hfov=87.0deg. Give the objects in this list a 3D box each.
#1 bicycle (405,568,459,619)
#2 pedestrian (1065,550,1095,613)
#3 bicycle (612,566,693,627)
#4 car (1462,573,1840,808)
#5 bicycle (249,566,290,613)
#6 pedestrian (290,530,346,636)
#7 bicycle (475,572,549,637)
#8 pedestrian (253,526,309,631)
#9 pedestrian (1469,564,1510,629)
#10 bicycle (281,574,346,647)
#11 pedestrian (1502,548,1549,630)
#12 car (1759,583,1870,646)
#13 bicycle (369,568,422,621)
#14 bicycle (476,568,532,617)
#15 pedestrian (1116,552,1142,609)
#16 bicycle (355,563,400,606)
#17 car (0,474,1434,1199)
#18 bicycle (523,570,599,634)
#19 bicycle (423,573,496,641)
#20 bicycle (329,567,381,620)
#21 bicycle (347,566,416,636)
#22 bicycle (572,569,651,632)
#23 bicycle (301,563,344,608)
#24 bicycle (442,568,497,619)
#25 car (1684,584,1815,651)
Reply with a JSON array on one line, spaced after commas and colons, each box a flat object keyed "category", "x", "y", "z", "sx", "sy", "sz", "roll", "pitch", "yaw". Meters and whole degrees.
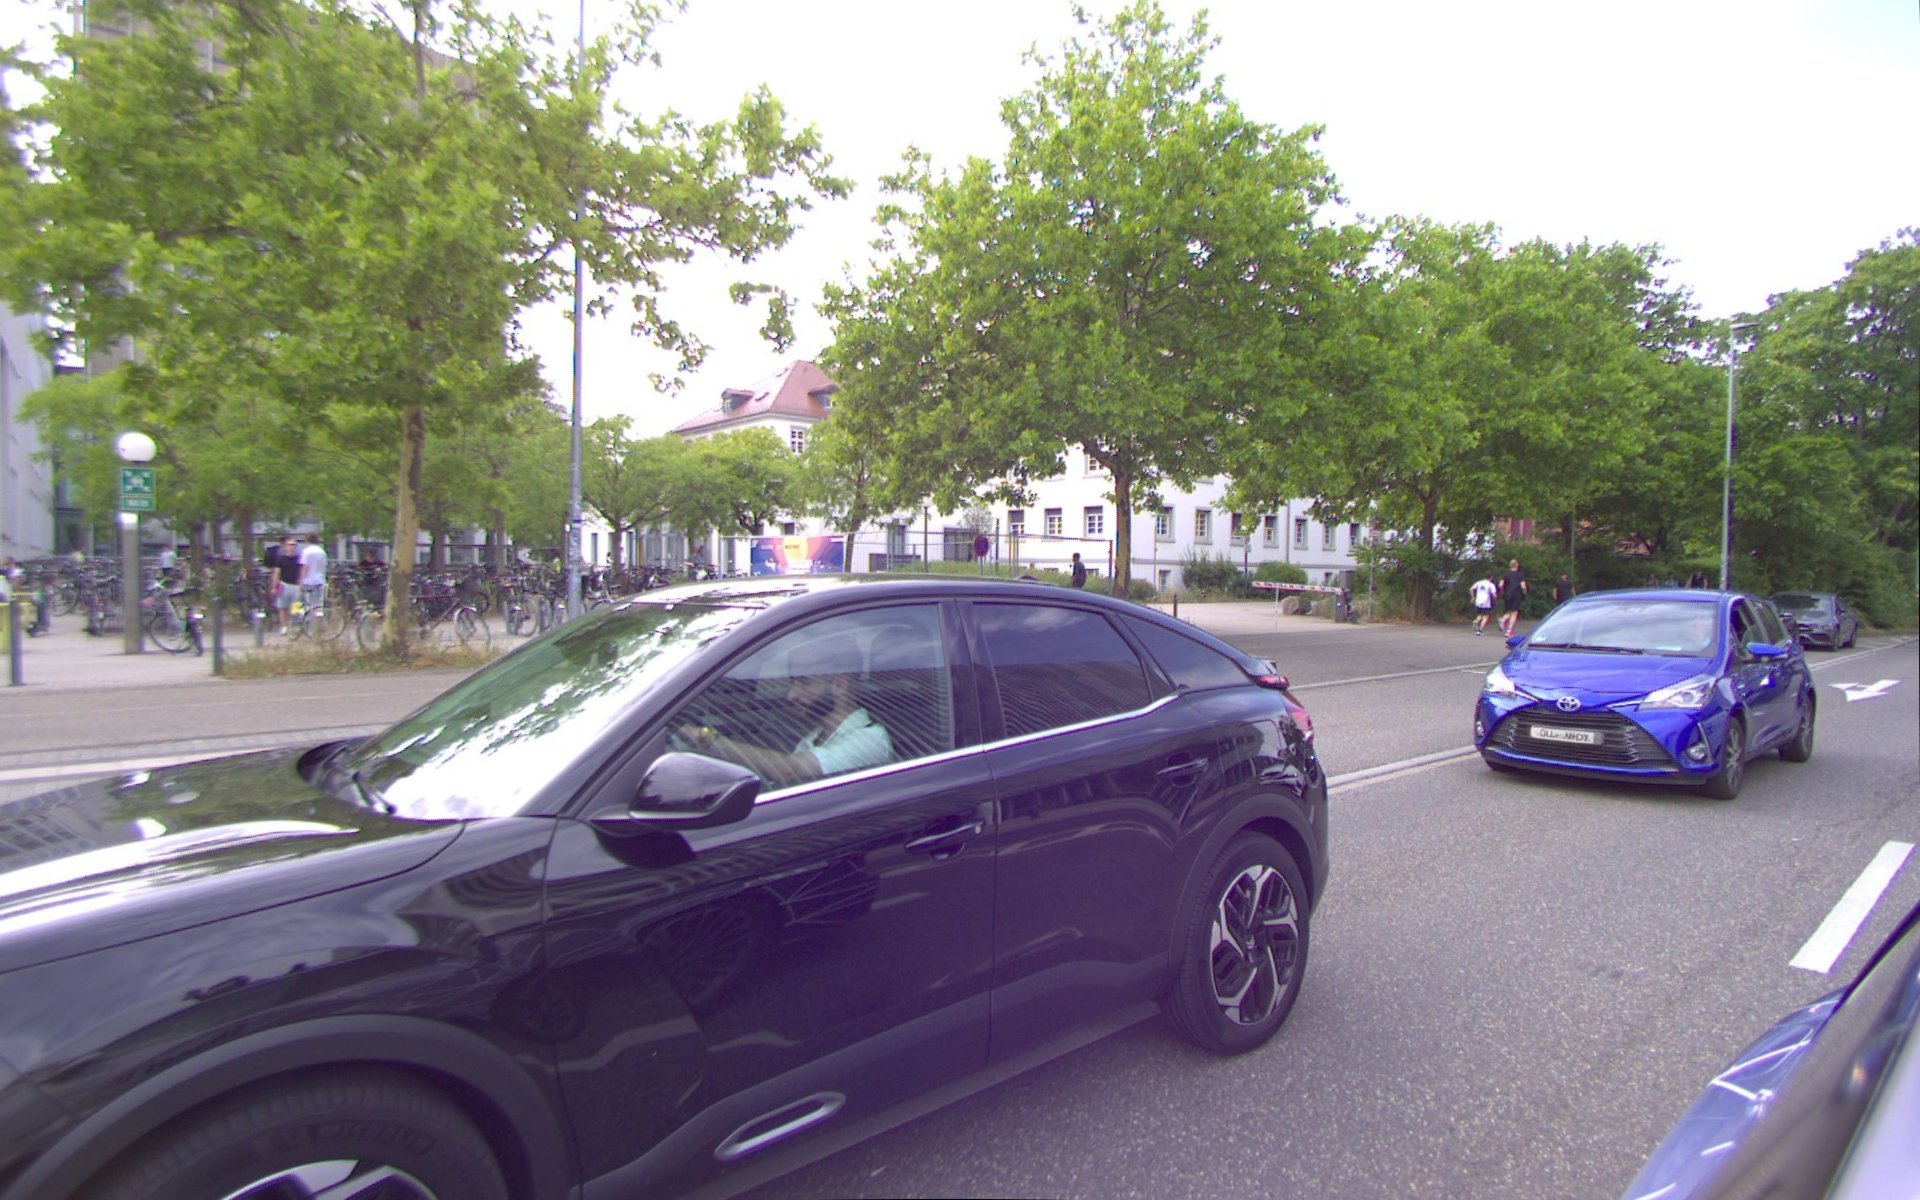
[{"category": "bicycle", "x": -12.599, "y": -0.193, "z": 24.117, "sx": 0.705, "sy": 1.156, "sz": 2.472, "roll": -1, "pitch": 2, "yaw": -38}, {"category": "pedestrian", "x": 3.396, "y": -0.518, "z": 28.575, "sx": 0.583, "sy": 1.760, "sz": 0.586, "roll": 0, "pitch": 1, "yaw": -39}, {"category": "bicycle", "x": -6.223, "y": -0.101, "z": 20.386, "sx": 0.705, "sy": 1.156, "sz": 2.472, "roll": -1, "pitch": 2, "yaw": -38}, {"category": "car", "x": 5.882, "y": 0.545, "z": 8.460, "sx": 3.765, "sy": 1.512, "sz": 1.702, "roll": -1, "pitch": 2, "yaw": -41}, {"category": "bicycle", "x": -18.008, "y": -0.297, "z": 26.370, "sx": 0.705, "sy": 1.156, "sz": 2.472, "roll": -1, "pitch": 2, "yaw": -38}, {"category": "pedestrian", "x": -12.267, "y": -0.313, "z": 19.341, "sx": 0.675, "sy": 1.988, "sz": 0.601, "roll": 0, "pitch": 0, "yaw": 11}, {"category": "bicycle", "x": -8.514, "y": 0.049, "z": 19.169, "sx": 0.705, "sy": 1.156, "sz": 2.472, "roll": -1, "pitch": 2, "yaw": -38}, {"category": "pedestrian", "x": -13.102, "y": -0.402, "z": 19.537, "sx": 0.675, "sy": 1.988, "sz": 0.601, "roll": 0, "pitch": 0, "yaw": 11}, {"category": "pedestrian", "x": 13.262, "y": -0.105, "z": 25.338, "sx": 0.791, "sy": 1.584, "sz": 0.645, "roll": -1, "pitch": 2, "yaw": -42}, {"category": "bicycle", "x": -11.102, "y": 0.138, "z": 17.343, "sx": 0.705, "sy": 1.156, "sz": 2.472, "roll": -1, "pitch": 2, "yaw": -38}, {"category": "pedestrian", "x": 13.915, "y": -0.281, "z": 24.907, "sx": 0.747, "sy": 1.957, "sz": 0.797, "roll": -1, "pitch": 2, "yaw": -41}, {"category": "car", "x": 22.125, "y": 0.306, "z": 26.157, "sx": 3.948, "sy": 1.480, "sz": 1.605, "roll": -1, "pitch": 2, "yaw": -41}, {"category": "bicycle", "x": -13.199, "y": -0.158, "z": 23.635, "sx": 0.705, "sy": 1.156, "sz": 2.472, "roll": -1, "pitch": 2, "yaw": -38}, {"category": "bicycle", "x": -11.355, "y": -0.203, "z": 25.153, "sx": 0.705, "sy": 1.156, "sz": 2.472, "roll": -1, "pitch": 2, "yaw": -38}, {"category": "pedestrian", "x": 5.276, "y": -0.616, "z": 31.604, "sx": 0.583, "sy": 1.774, "sz": 0.531, "roll": 0, "pitch": 1, "yaw": -36}, {"category": "bicycle", "x": -16.110, "y": -0.447, "z": 27.958, "sx": 0.705, "sy": 1.156, "sz": 2.472, "roll": -1, "pitch": 2, "yaw": -38}, {"category": "car", "x": -0.531, "y": 0.591, "z": 2.945, "sx": 4.100, "sy": 1.575, "sz": 1.804, "roll": -1, "pitch": 2, "yaw": -38}, {"category": "bicycle", "x": -7.812, "y": -0.001, "z": 19.727, "sx": 0.705, "sy": 1.156, "sz": 2.472, "roll": -1, "pitch": 2, "yaw": -38}, {"category": "bicycle", "x": -9.277, "y": 0.086, "z": 18.696, "sx": 0.705, "sy": 1.156, "sz": 2.472, "roll": -1, "pitch": 2, "yaw": -38}, {"category": "bicycle", "x": -13.831, "y": -0.177, "z": 23.117, "sx": 0.705, "sy": 1.156, "sz": 2.472, "roll": -1, "pitch": 2, "yaw": -38}, {"category": "bicycle", "x": -10.310, "y": -0.024, "z": 17.986, "sx": 0.705, "sy": 1.156, "sz": 2.472, "roll": -1, "pitch": 2, "yaw": -38}, {"category": "bicycle", "x": -6.865, "y": -0.031, "z": 19.841, "sx": 0.705, "sy": 1.156, "sz": 2.472, "roll": -1, "pitch": 2, "yaw": -38}, {"category": "bicycle", "x": -17.102, "y": -0.400, "z": 27.120, "sx": 0.705, "sy": 1.156, "sz": 2.472, "roll": -1, "pitch": 2, "yaw": -38}, {"category": "bicycle", "x": -11.969, "y": -0.187, "z": 24.646, "sx": 0.705, "sy": 1.156, "sz": 2.472, "roll": -1, "pitch": 2, "yaw": -38}, {"category": "car", "x": 18.421, "y": 0.353, "z": 23.554, "sx": 3.765, "sy": 1.386, "sz": 1.702, "roll": -1, "pitch": 2, "yaw": -41}]
